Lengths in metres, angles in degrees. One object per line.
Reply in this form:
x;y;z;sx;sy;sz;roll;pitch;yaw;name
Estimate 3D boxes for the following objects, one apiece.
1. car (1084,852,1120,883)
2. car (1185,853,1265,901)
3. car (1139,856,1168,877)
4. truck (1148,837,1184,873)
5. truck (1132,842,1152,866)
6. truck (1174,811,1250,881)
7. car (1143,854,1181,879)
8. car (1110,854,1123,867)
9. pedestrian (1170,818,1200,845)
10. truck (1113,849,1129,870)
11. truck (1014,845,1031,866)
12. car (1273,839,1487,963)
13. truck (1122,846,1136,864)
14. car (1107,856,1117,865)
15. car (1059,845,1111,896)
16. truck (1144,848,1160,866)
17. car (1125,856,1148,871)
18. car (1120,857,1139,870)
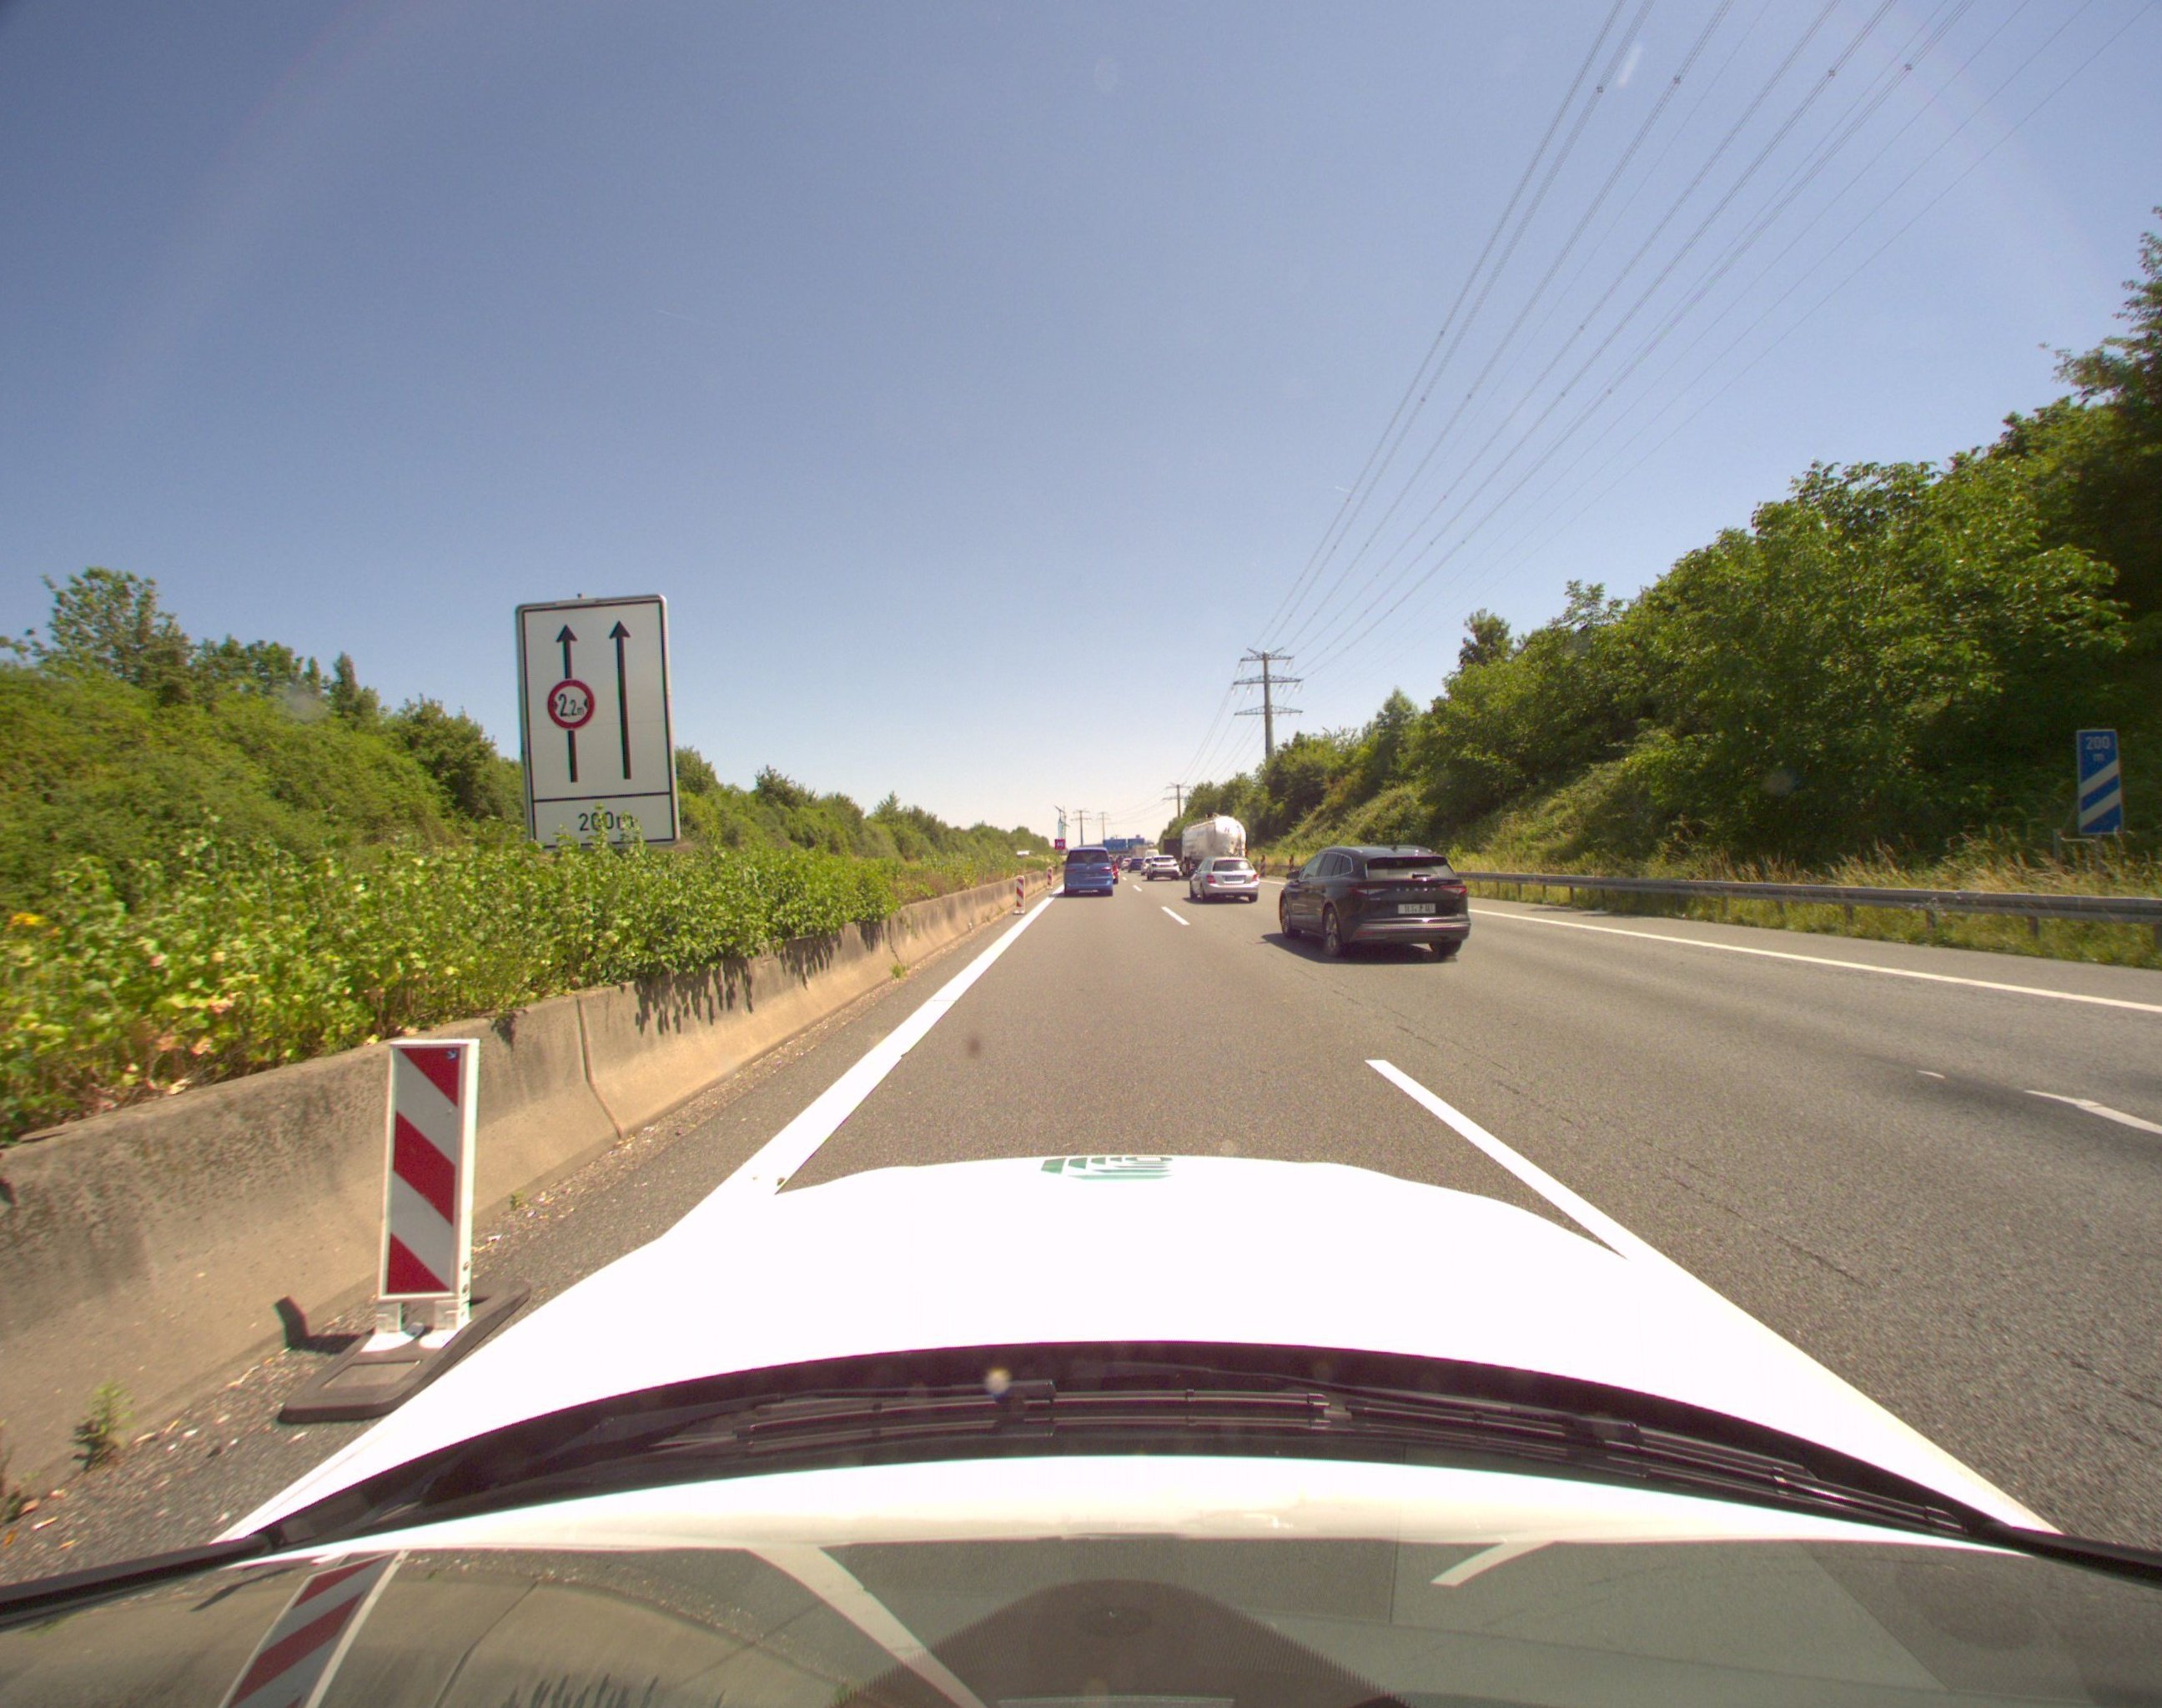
1.155;0.759;46.074;1.902;1.631;4.383;-1;0;0;car
4.651;0.724;26.874;1.815;1.437;4.382;0;0;-1;car
5.778;0.984;65.611;1.903;1.569;4.382;0;0;-1;car
9.054;0.135;88.289;2.636;3.539;12.550;0;0;0;truck
11.298;-0.010;151.751;2.928;4.291;12.550;0;0;0;truck
8.613;-0.415;56.006;2.636;4.072;16.439;0;0;0;truck
5.001;0.752;50.619;1.903;1.508;3.920;0;0;-1;car
5.755;1.062;133.640;1.987;2.014;4.000;0;0;0;car
8.232;-1.787;64.906;1.986;2.014;4.001;0;0;2;pedestrian
5.434;0.727;110.725;1.987;2.724;5.679;0;0;0;truck
-12.033;0.323;167.658;2.742;4.166;6.411;-5;0;1;truck
4.482;0.620;13.006;1.822;1.614;4.430;-1;0;0;car
11.862;0.337;202.010;2.928;4.291;12.550;0;0;0;truck
7.130;1.397;187.101;1.987;2.014;4.000;0;0;0;car
0.093;0.615;32.572;1.866;1.879;4.379;0;0;-2;car
10.589;0.459;121.687;1.987;2.724;5.679;0;0;0;truck
5.474;0.926;80.408;1.903;1.516;4.382;0;0;-1;car
5.716;1.159;96.926;1.903;1.516;4.382;0;0;-1;car
